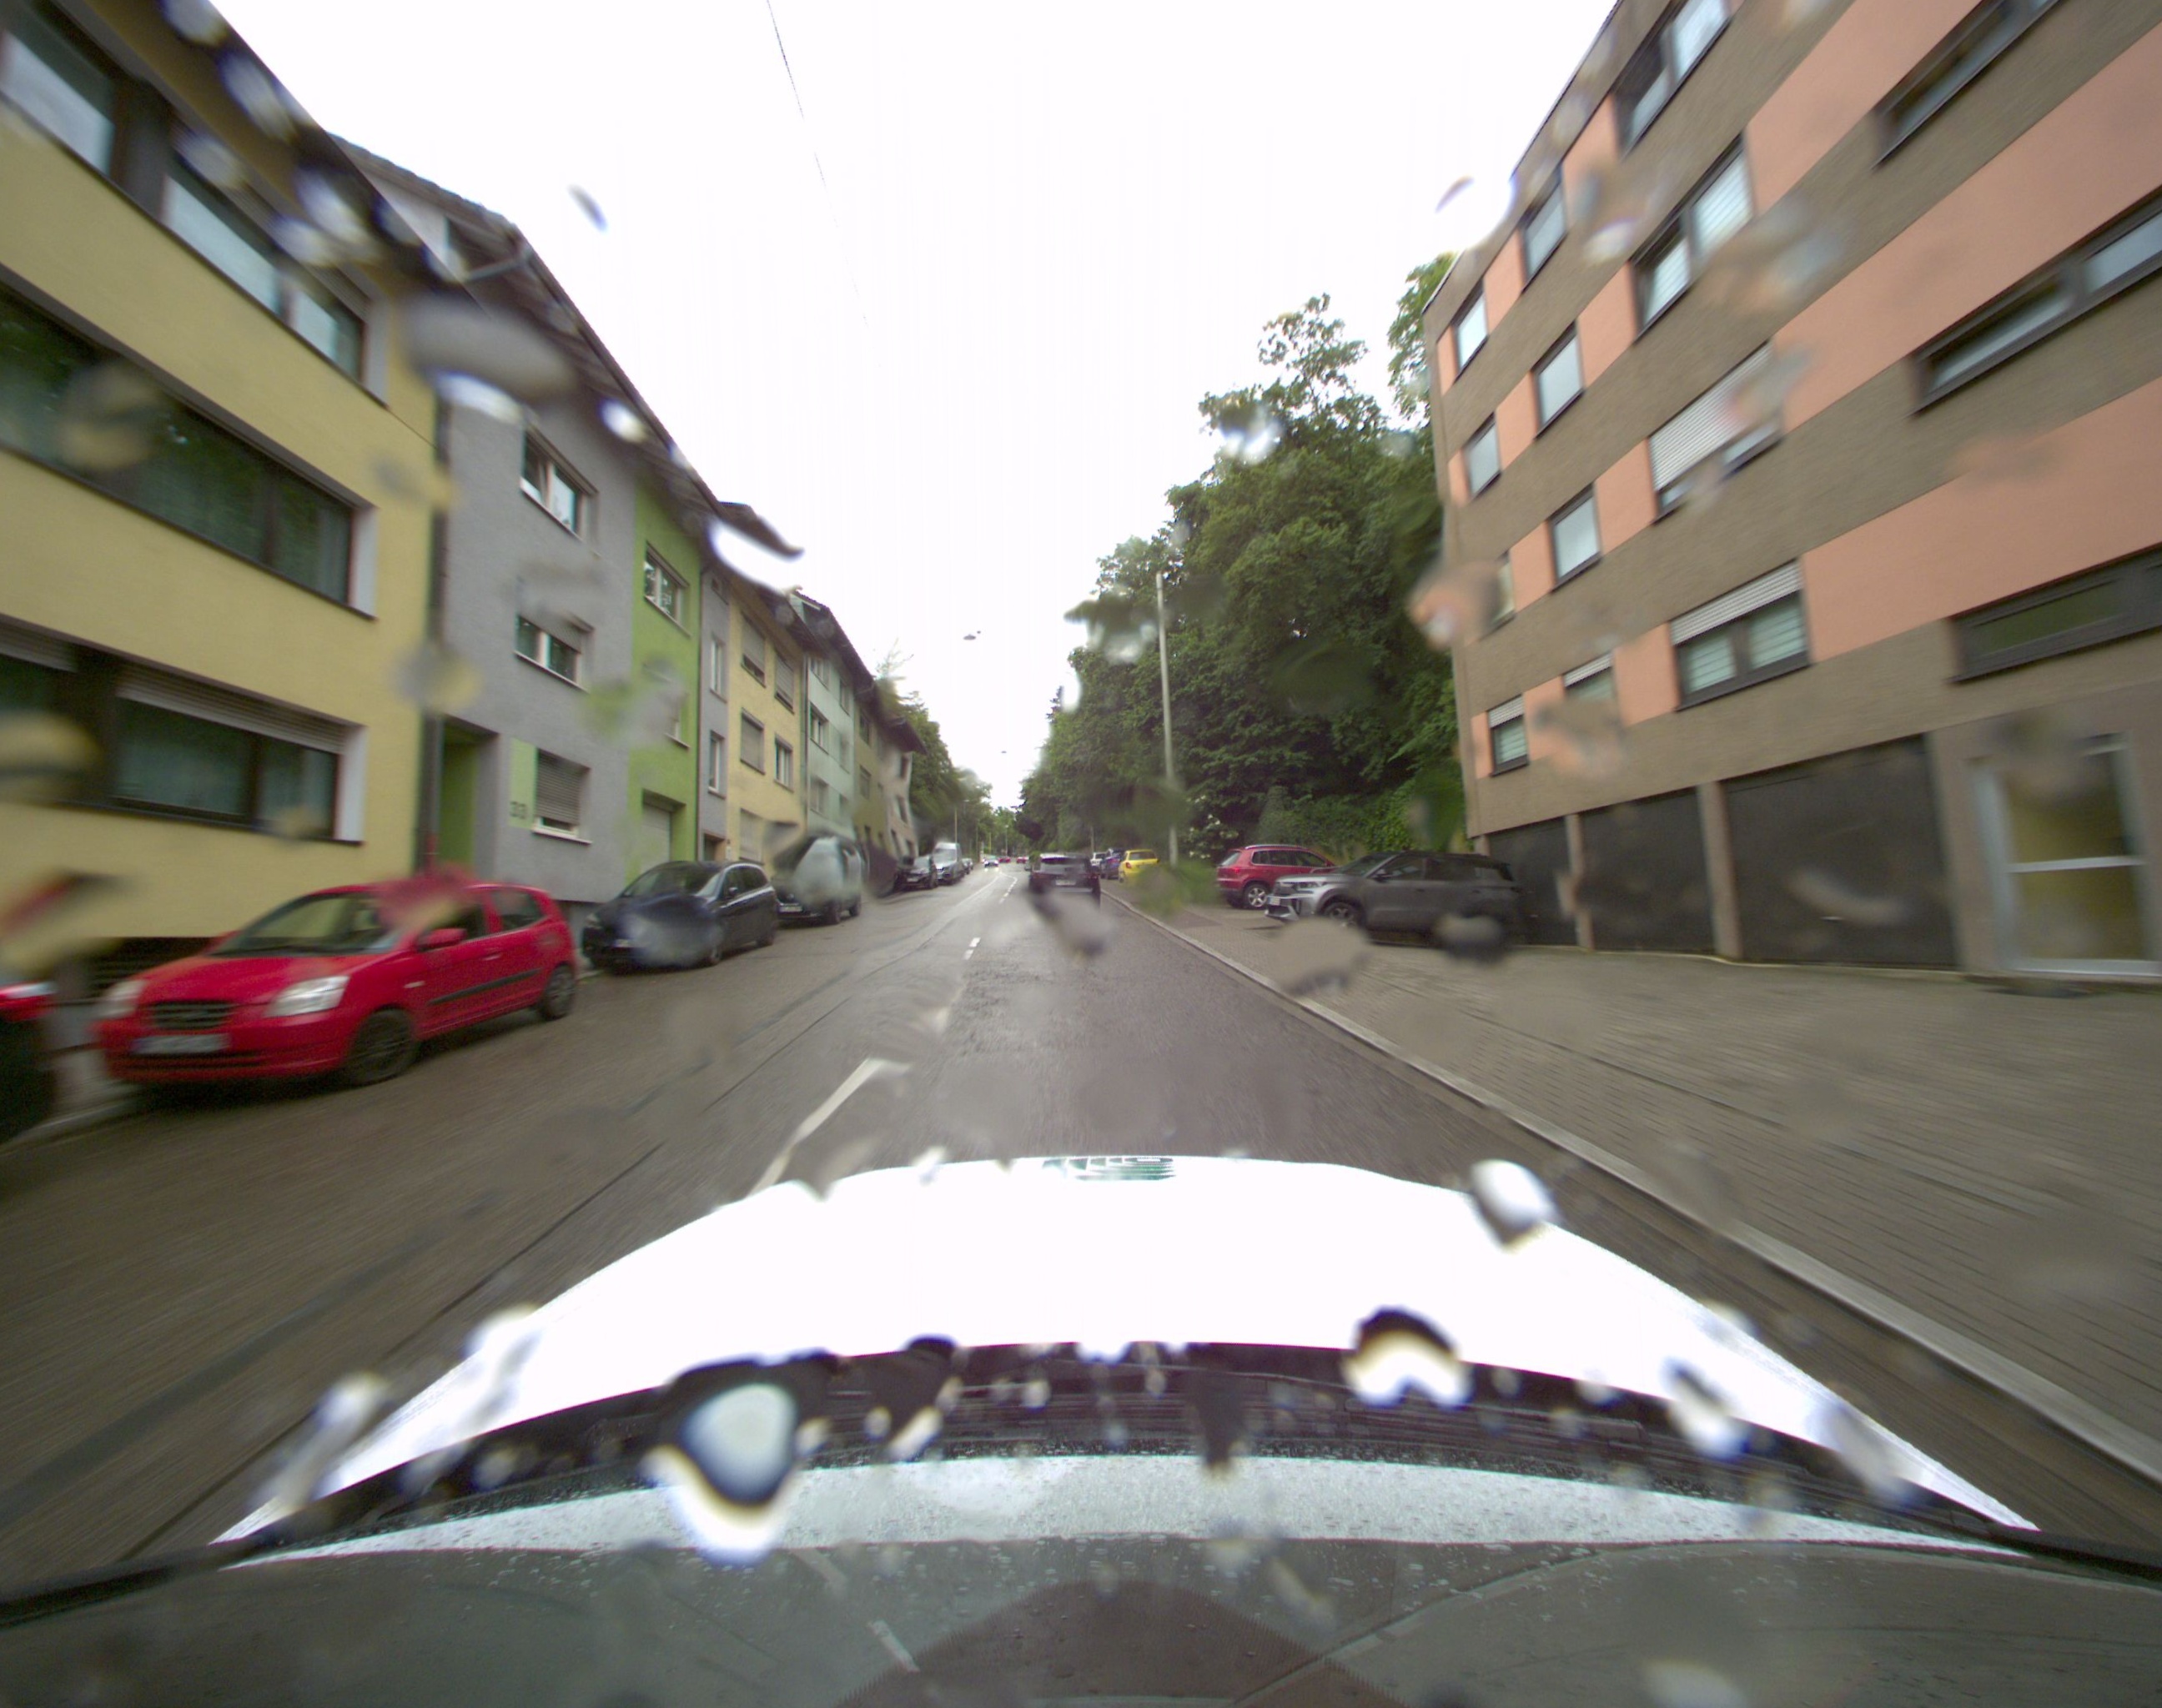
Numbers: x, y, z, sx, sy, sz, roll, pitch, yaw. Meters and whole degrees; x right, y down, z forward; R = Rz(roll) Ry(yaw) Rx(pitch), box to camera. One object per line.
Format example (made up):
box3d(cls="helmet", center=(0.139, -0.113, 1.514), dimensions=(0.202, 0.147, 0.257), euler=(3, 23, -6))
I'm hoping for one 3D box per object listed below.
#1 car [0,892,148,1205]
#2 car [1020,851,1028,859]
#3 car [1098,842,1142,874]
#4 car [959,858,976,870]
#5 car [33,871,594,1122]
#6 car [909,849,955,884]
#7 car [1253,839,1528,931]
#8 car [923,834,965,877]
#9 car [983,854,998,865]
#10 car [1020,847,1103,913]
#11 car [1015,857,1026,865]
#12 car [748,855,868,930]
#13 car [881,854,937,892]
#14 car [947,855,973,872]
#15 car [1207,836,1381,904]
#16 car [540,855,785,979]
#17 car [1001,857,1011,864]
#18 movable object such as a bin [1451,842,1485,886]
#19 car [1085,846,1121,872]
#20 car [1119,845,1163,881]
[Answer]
box3d(cls="car", center=(-6.098, 1.011, 2.316), dimensions=(1.990, 1.472, 4.341), euler=(-3, 1, -5))
box3d(cls="car", center=(-15.672, 0.315, 225.432), dimensions=(1.988, 2.014, 3.998), euler=(-1, -2, -1))
box3d(cls="car", center=(2.068, 0.199, 44.198), dimensions=(1.807, 1.530, 4.411), euler=(-4, 0, -4))
box3d(cls="car", center=(-14.937, 1.309, 107.238), dimensions=(1.987, 1.384, 4.450), euler=(-3, 1, -5))
box3d(cls="car", center=(-6.141, 0.980, 7.184), dimensions=(1.725, 1.472, 3.485), euler=(-3, 1, -5))
box3d(cls="car", center=(-8.178, 0.632, 44.975), dimensions=(1.987, 1.755, 4.473), euler=(-3, 1, -5))
box3d(cls="car", center=(5.319, 0.510, 14.290), dimensions=(4.192, 1.496, 1.756), euler=(0, 0, -6))
box3d(cls="car", center=(-8.580, 0.065, 51.398), dimensions=(1.987, 2.474, 5.775), euler=(-3, 1, -5))
box3d(cls="car", center=(-13.262, 0.768, 119.581), dimensions=(1.991, 1.559, 3.993), euler=(-1, 1, -5))
box3d(cls="car", center=(-0.584, 0.610, 21.799), dimensions=(1.989, 1.559, 3.995), euler=(-1, 1, -4))
box3d(cls="car", center=(-12.993, 1.471, 175.214), dimensions=(2.072, 1.559, 3.991), euler=(-2, 0, -7))
box3d(cls="car", center=(-6.840, 0.888, 20.908), dimensions=(1.850, 1.585, 4.298), euler=(-3, 1, -5))
box3d(cls="car", center=(-8.120, 0.857, 38.731), dimensions=(1.987, 1.585, 4.298), euler=(-3, 1, -5))
box3d(cls="car", center=(-11.114, 0.846, 75.181), dimensions=(1.987, 1.384, 4.450), euler=(-3, 1, -5))
box3d(cls="car", center=(5.647, 0.417, 21.839), dimensions=(4.195, 1.734, 1.755), euler=(0, 0, -8))
box3d(cls="car", center=(-6.611, 0.871, 13.545), dimensions=(1.990, 1.585, 4.464), euler=(-3, 1, -5))
box3d(cls="car", center=(-16.551, 1.438, 179.885), dimensions=(2.071, 1.559, 3.993), euler=(-2, 0, -5))
box3d(cls="movable object such as a bin", center=(9.633, 0.250, 20.265), dimensions=(0.506, 1.061, 0.602), euler=(-1, -2, -4))
box3d(cls="car", center=(1.428, 0.320, 55.024), dimensions=(1.809, 1.530, 4.408), euler=(-4, 0, -6))
box3d(cls="car", center=(2.674, 0.387, 37.268), dimensions=(1.628, 1.530, 3.998), euler=(-1, 0, -1))
